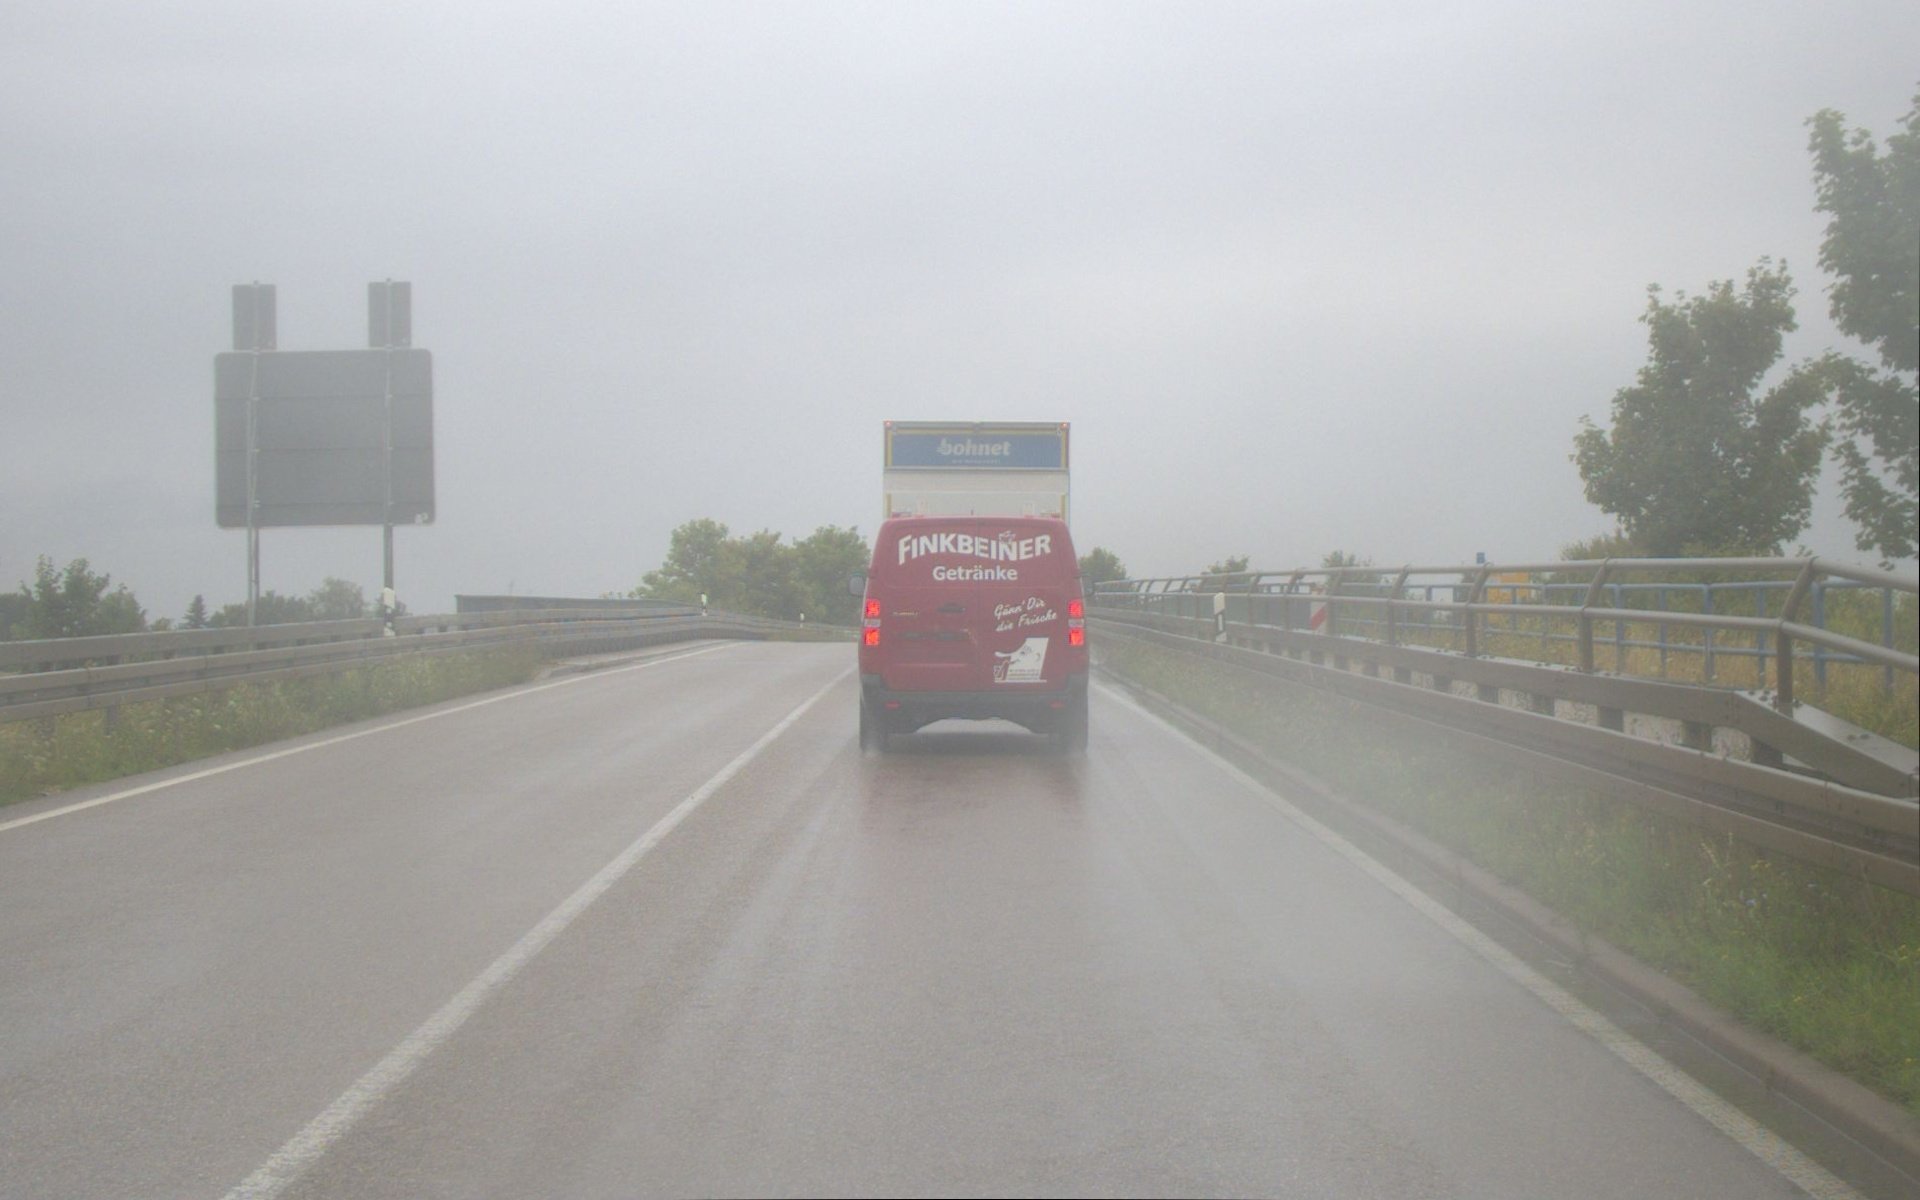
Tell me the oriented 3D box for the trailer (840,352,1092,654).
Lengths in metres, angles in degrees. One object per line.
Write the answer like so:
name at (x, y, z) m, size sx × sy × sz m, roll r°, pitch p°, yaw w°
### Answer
trailer at (0.194, -1.261, 50.435) m, size 3.201 × 3.909 × 8.739 m, roll 3°, pitch 0°, yaw 2°

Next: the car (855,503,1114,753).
car at (0.165, 0.190, 28.858) m, size 1.993 × 1.919 × 4.143 m, roll 1°, pitch 1°, yaw -1°
